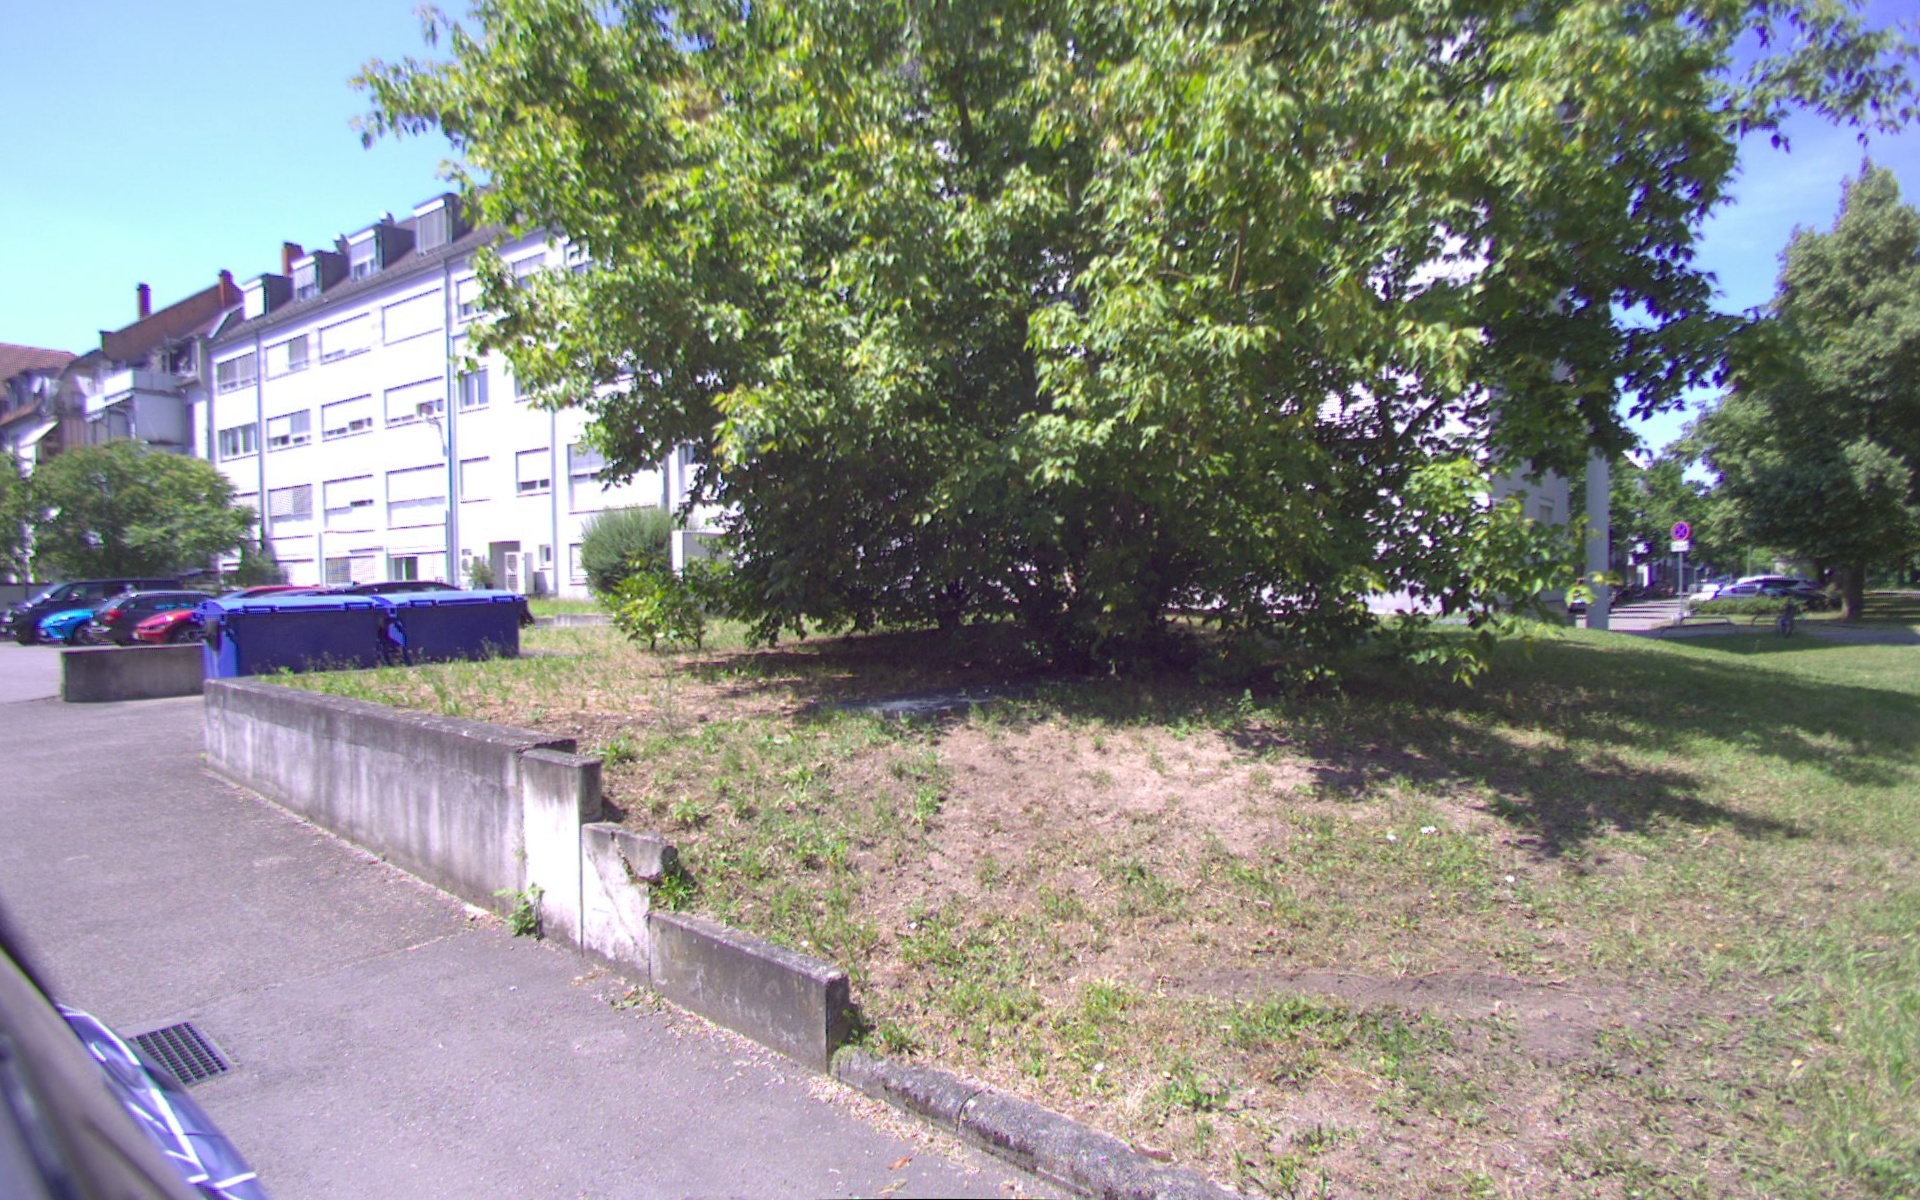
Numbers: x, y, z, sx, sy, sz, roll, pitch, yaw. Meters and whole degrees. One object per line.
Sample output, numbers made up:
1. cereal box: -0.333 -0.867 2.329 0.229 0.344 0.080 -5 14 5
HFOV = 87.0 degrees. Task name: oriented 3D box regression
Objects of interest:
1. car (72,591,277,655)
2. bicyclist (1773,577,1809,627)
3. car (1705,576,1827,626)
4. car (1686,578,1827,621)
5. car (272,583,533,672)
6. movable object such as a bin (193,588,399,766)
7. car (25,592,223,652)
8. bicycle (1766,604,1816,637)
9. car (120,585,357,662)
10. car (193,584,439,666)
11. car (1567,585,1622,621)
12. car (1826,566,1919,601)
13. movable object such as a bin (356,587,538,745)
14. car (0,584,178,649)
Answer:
1. car: -21.517 0.567 27.880 1.610 1.580 4.174 0 1 36
2. bicyclist: 18.102 0.049 22.047 0.518 1.053 0.515 -4 -2 43
3. car: 34.261 0.016 43.123 3.996 2.029 1.974 1 1 39
4. car: 31.700 -0.068 40.411 4.337 1.622 1.908 1 1 39
5. car: -11.160 0.461 20.561 1.610 1.580 4.393 0 1 36
6. movable object such as a bin: -5.801 0.600 8.857 1.095 1.399 1.255 1 1 41
7. car: -24.201 0.571 29.451 1.610 1.580 4.174 0 1 36
8. bicycle: 18.107 0.445 22.036 0.734 0.646 1.594 -3 -1 42
9. car: -16.590 0.468 23.467 1.610 1.580 4.174 0 1 36
10. car: -13.693 0.451 21.767 1.610 1.580 4.174 0 1 36
11. car: 30.124 0.118 48.125 1.799 1.615 3.860 0 1 26
12. car: 47.209 -0.850 52.066 3.996 1.780 1.807 1 1 39
13. movable object such as a bin: -4.980 0.578 9.842 1.095 1.399 1.255 1 1 41
14. car: -26.799 0.428 30.933 2.006 1.837 4.174 0 1 36
